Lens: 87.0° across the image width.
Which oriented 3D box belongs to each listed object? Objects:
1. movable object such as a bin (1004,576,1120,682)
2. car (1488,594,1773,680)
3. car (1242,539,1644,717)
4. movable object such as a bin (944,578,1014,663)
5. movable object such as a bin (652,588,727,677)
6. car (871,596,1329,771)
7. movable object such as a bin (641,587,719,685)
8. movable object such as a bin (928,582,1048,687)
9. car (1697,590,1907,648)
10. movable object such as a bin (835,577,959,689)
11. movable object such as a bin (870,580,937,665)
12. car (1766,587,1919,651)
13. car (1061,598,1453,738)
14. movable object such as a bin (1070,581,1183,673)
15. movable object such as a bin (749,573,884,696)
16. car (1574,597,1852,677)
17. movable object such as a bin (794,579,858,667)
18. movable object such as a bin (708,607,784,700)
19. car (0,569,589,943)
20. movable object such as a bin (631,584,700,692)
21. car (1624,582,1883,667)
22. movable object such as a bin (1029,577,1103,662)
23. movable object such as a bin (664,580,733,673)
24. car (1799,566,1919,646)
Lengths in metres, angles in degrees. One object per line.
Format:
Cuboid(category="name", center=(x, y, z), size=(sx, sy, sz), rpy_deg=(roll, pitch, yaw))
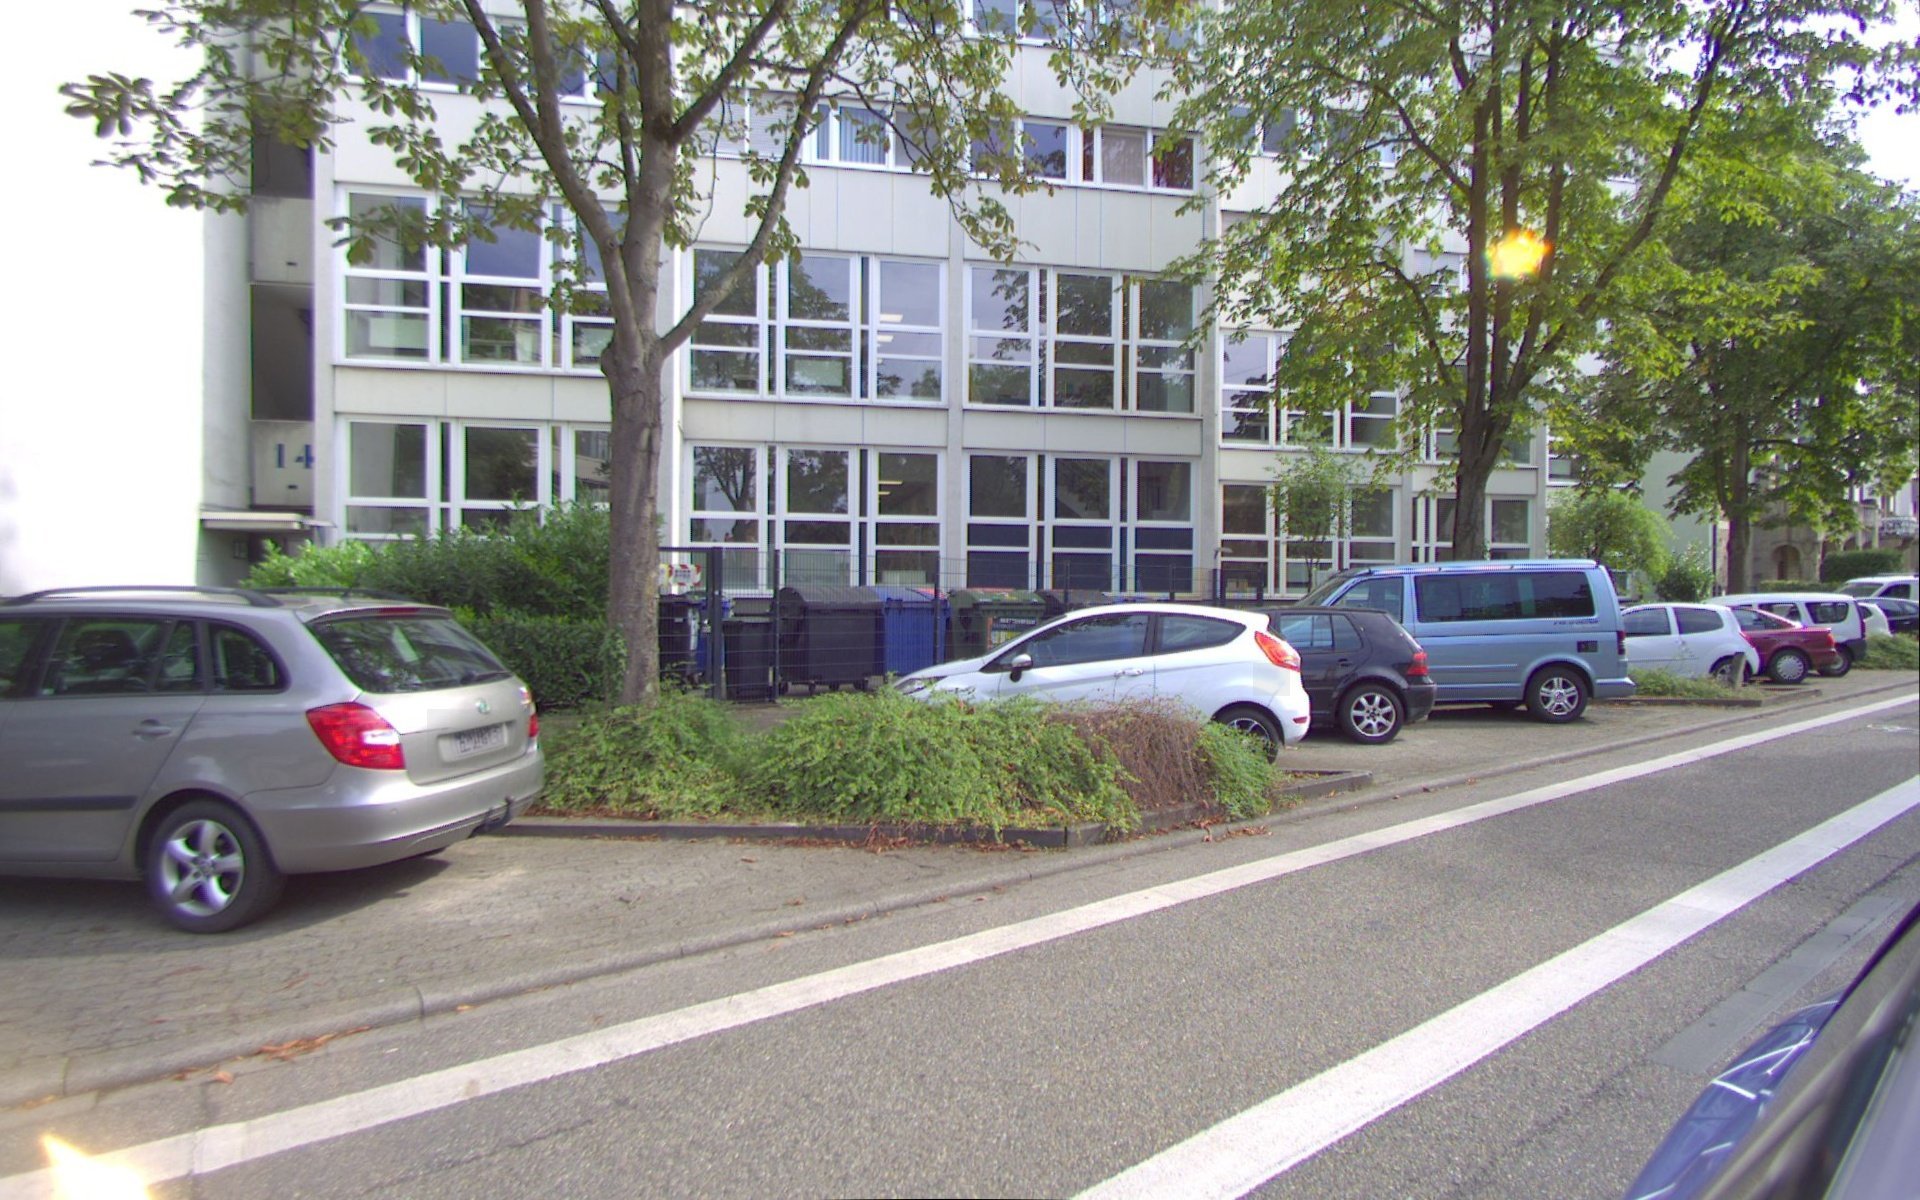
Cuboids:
Cuboid(category="movable object such as a bin", center=(1.637, 0.427, 16.321), size=(1.328, 1.616, 1.336), rpy_deg=(0, 0, -33))
Cuboid(category="car", center=(11.185, 0.584, 17.123), size=(3.583, 1.347, 1.764), rpy_deg=(0, 1, 8))
Cuboid(category="car", center=(6.011, 0.313, 13.127), size=(4.272, 2.090, 1.996), rpy_deg=(0, 0, 7))
Cuboid(category="movable object such as a bin", center=(0.353, 0.372, 19.364), size=(1.151, 1.588, 1.182), rpy_deg=(0, 0, -9))
Cuboid(category="movable object such as a bin", center=(-4.447, 0.502, 16.616), size=(1.155, 1.387, 1.177), rpy_deg=(0, 0, -16))
Cuboid(category="car", center=(1.206, 0.676, 9.282), size=(3.795, 1.410, 1.631), rpy_deg=(0, 0, 7))
Cuboid(category="movable object such as a bin", center=(-4.232, 0.514, 15.294), size=(1.095, 1.409, 1.065), rpy_deg=(0, 0, -16))
Cuboid(category="movable object such as a bin", center=(0.423, 0.490, 15.526), size=(1.328, 1.521, 1.336), rpy_deg=(0, 0, -33))
Cuboid(category="car", center=(20.684, 0.441, 24.998), size=(3.583, 1.347, 1.764), rpy_deg=(0, 1, 8))
Cuboid(category="movable object such as a bin", center=(-0.925, 0.444, 14.713), size=(1.312, 1.523, 1.336), rpy_deg=(0, 0, -33))
Cuboid(category="movable object such as a bin", center=(-1.083, 0.405, 19.040), size=(1.151, 1.533, 1.182), rpy_deg=(0, 0, -9))
Cuboid(category="car", center=(24.140, 0.475, 27.163), size=(3.609, 1.609, 1.751), rpy_deg=(0, 1, 27))
Cuboid(category="car", center=(3.113, 0.701, 11.334), size=(3.905, 1.405, 1.810), rpy_deg=(0, -1, 8))
Cuboid(category="movable object such as a bin", center=(2.833, 0.427, 17.267), size=(1.373, 1.477, 1.336), rpy_deg=(0, 0, -33))
Cuboid(category="movable object such as a bin", center=(-1.965, 0.428, 13.738), size=(1.388, 1.549, 1.331), rpy_deg=(0, 0, -33))
Cuboid(category="car", center=(13.875, 0.647, 18.873), size=(3.711, 1.355, 1.809), rpy_deg=(0, 1, 12))
Cuboid(category="movable object such as a bin", center=(-2.522, 0.405, 18.968), size=(1.151, 1.588, 1.182), rpy_deg=(0, 0, -9))
Cuboid(category="movable object such as a bin", center=(-2.708, 0.651, 12.788), size=(0.728, 1.119, 0.787), rpy_deg=(0, 0, -31))
Cuboid(category="car", center=(-4.197, 0.649, 5.274), size=(3.983, 1.557, 1.592), rpy_deg=(0, 0, 7))
Cuboid(category="movable object such as a bin", center=(-4.060, 0.499, 13.970), size=(0.893, 1.424, 1.026), rpy_deg=(0, 0, -16))
Cuboid(category="car", center=(16.088, 0.458, 20.724), size=(3.711, 1.638, 1.809), rpy_deg=(0, 1, 12))
Cuboid(category="movable object such as a bin", center=(2.036, 0.352, 19.583), size=(1.151, 1.588, 1.182), rpy_deg=(0, 0, -9))
Cuboid(category="movable object such as a bin", center=(-4.656, 0.438, 17.978), size=(1.155, 1.588, 1.177), rpy_deg=(0, 0, -16))
Cuboid(category="car", center=(27.599, 0.141, 28.771), size=(5.354, 2.203, 2.141), rpy_deg=(0, 1, 12))
